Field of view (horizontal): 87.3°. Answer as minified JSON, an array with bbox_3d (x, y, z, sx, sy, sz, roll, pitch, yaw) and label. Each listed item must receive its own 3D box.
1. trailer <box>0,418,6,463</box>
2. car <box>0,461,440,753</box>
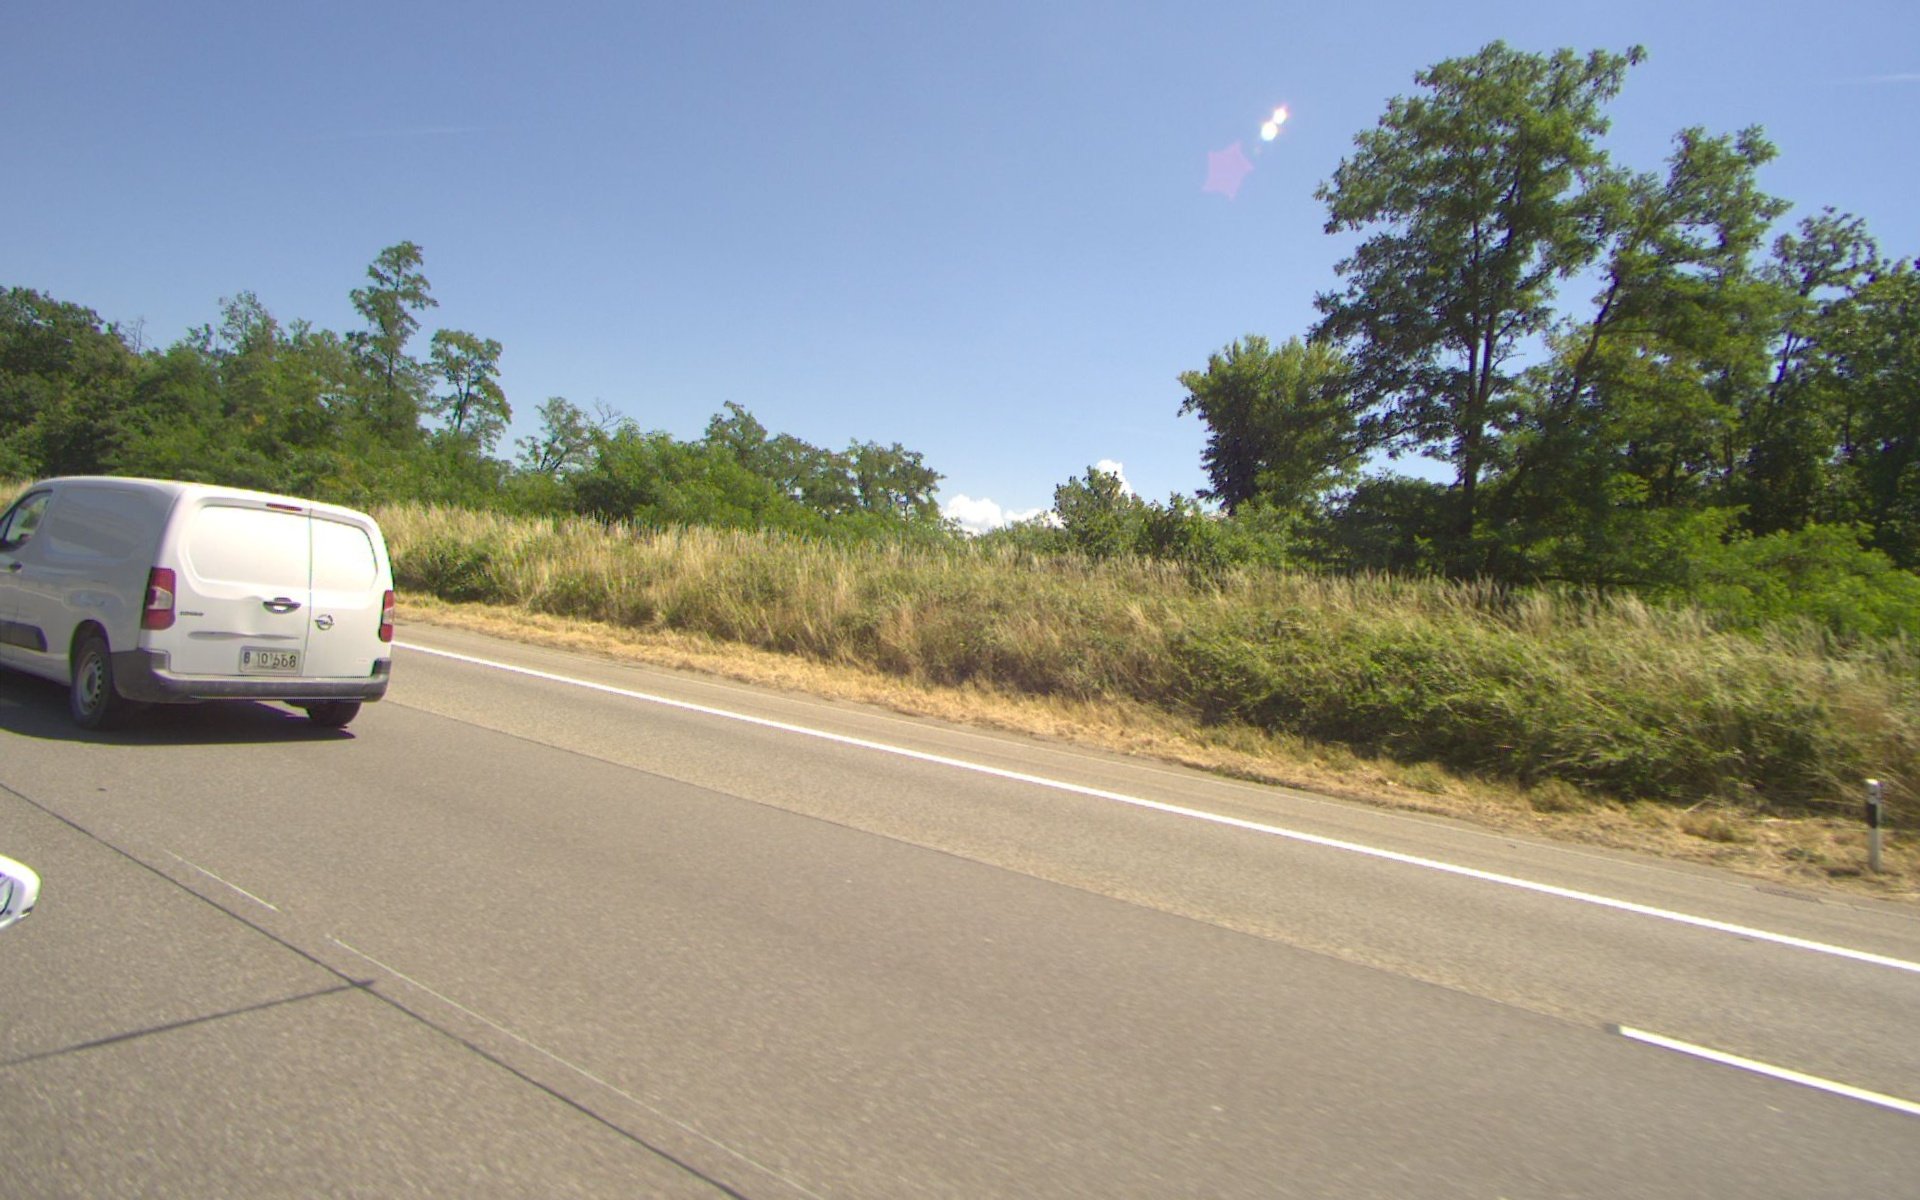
[{"bbox_3d":[-32.245,-3.799,29.917,11.358,3.777,2.534,6,-1,32],"label":"trailer"},{"bbox_3d":[-6.840,-0.054,8.589,4.859,1.838,1.869,6,-2,32],"label":"car"}]
